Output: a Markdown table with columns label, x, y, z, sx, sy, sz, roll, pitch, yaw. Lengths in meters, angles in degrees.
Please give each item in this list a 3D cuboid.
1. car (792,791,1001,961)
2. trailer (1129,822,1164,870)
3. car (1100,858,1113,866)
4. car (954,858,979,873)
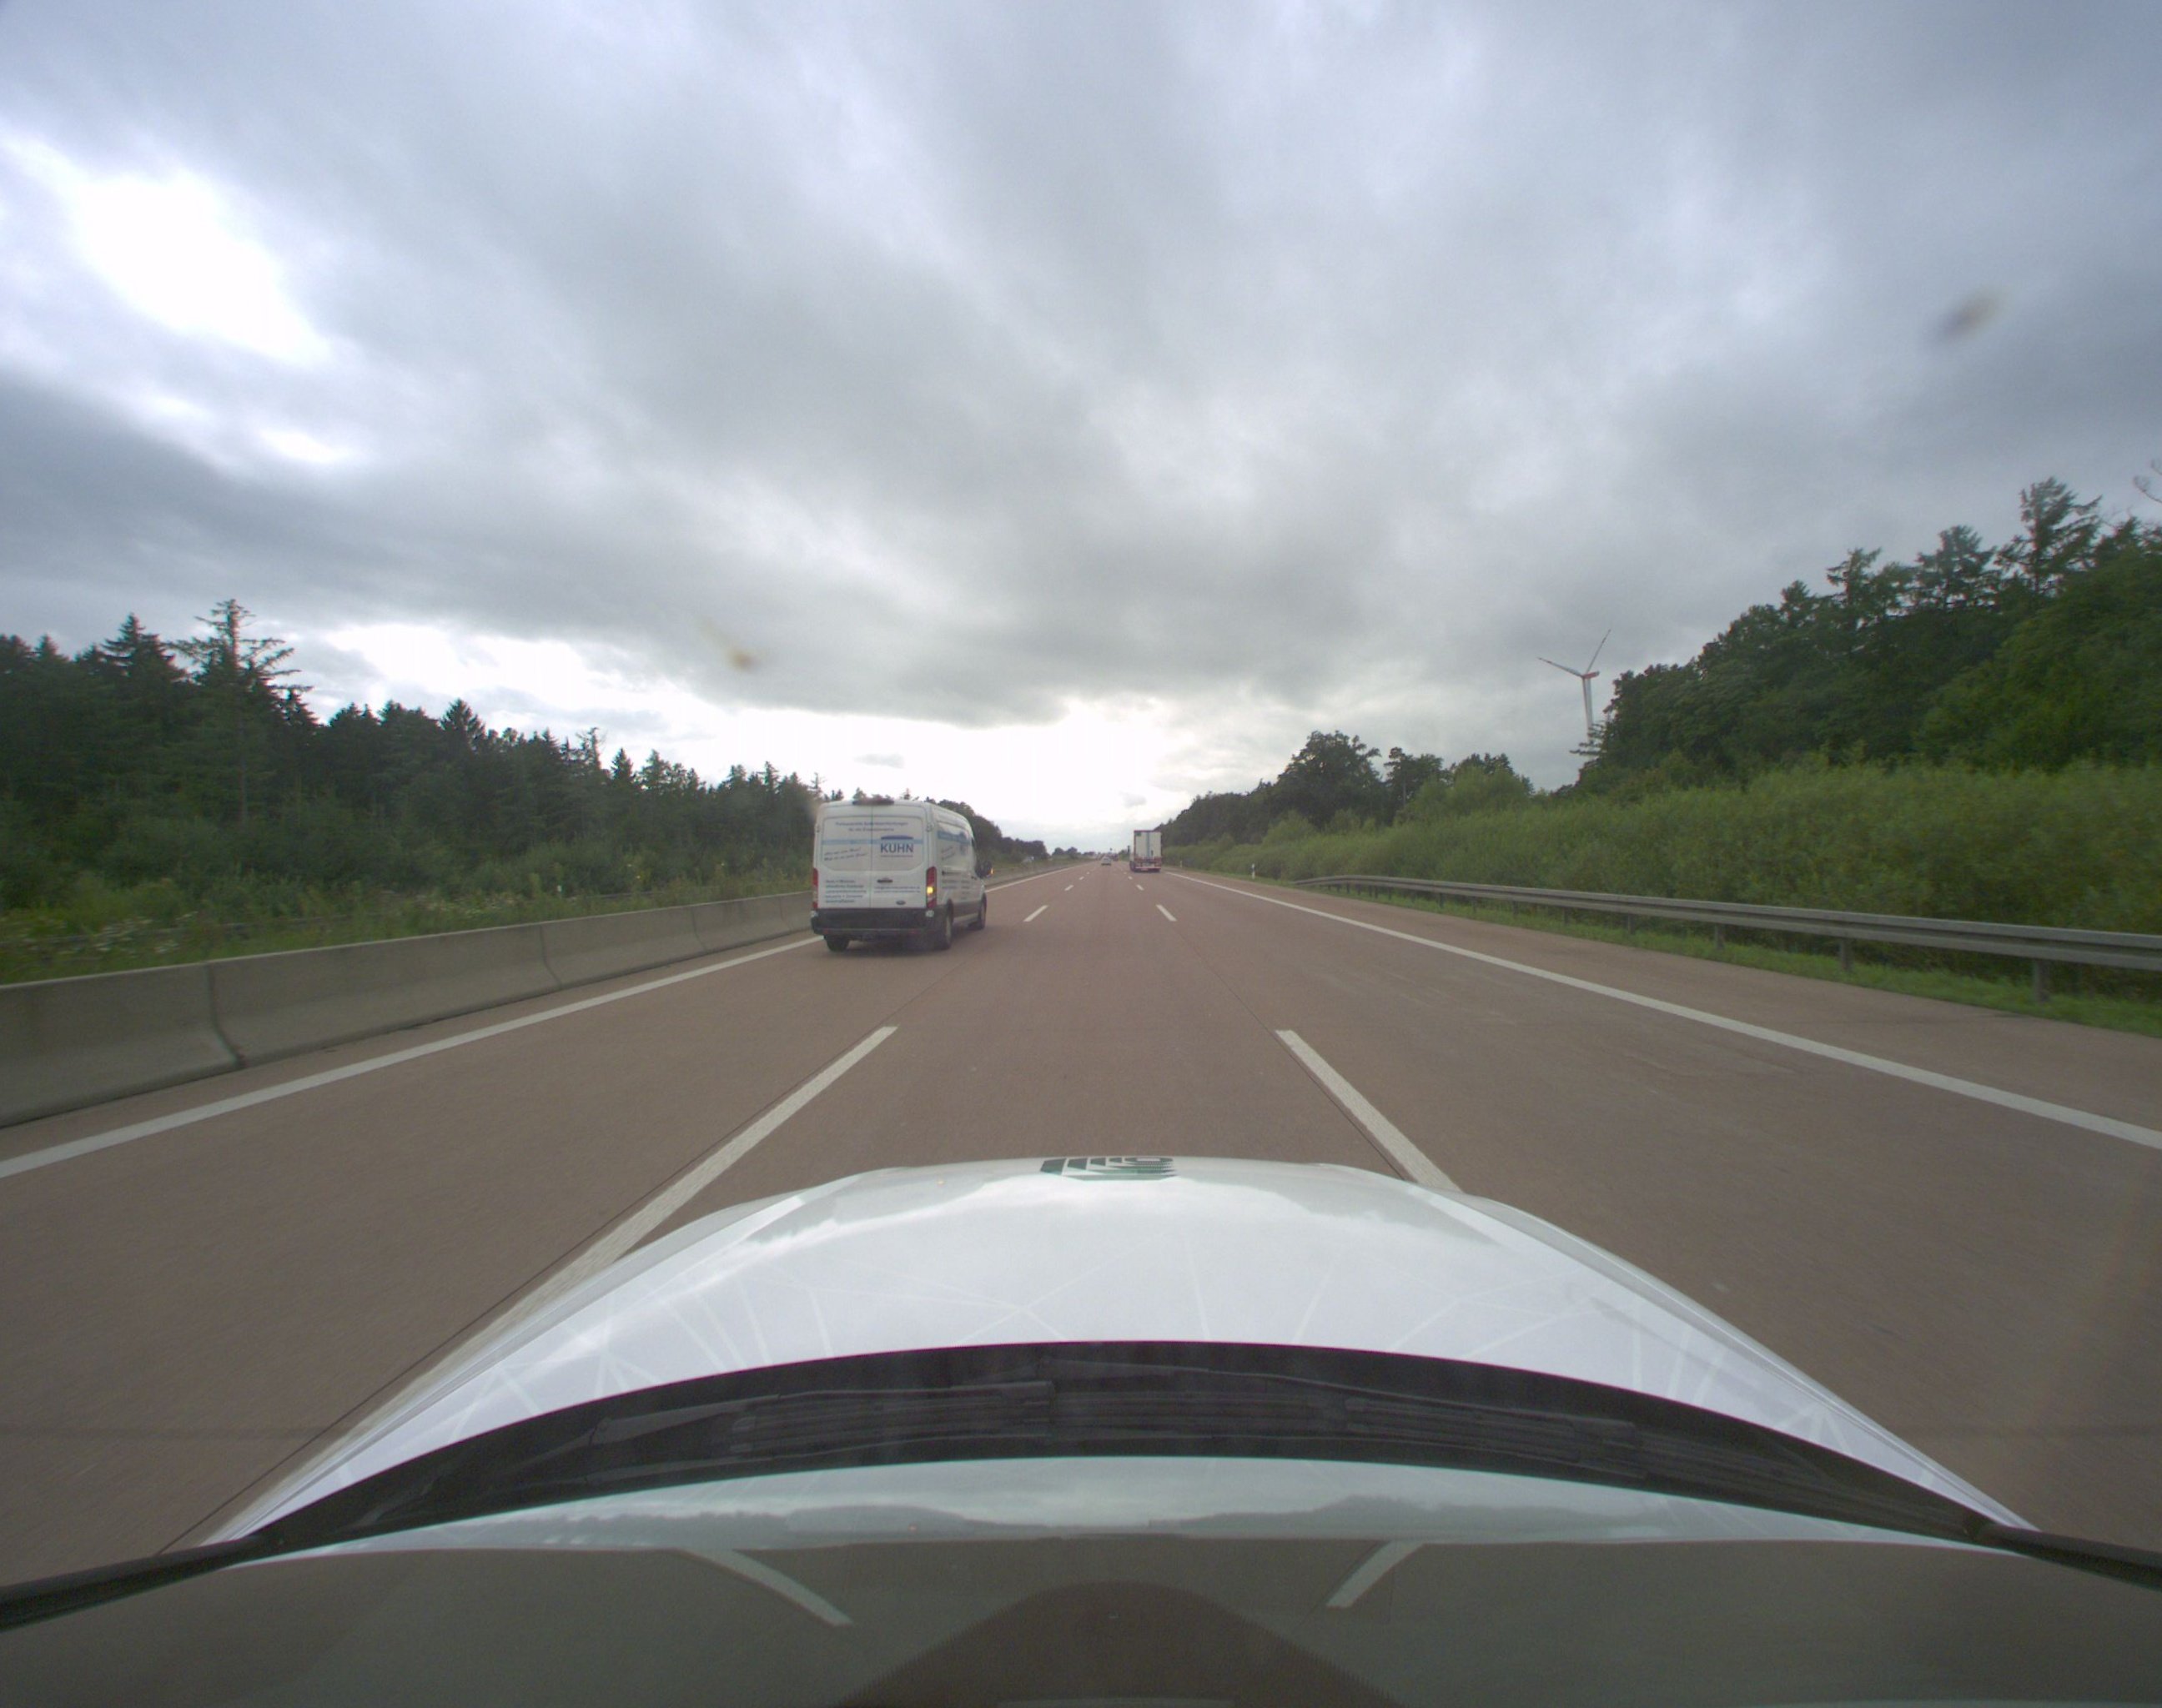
| label | x | y | z | sx | sy | sz | roll | pitch | yaw |
| --- | --- | --- | --- | --- | --- | --- | --- | --- | --- |
| car | -3.113 | 0.320 | 15.739 | 2.129 | 2.507 | 7.135 | -1 | 0 | 2 |
| trailer | 6.402 | -0.705 | 81.189 | 2.910 | 4.294 | 13.620 | 0 | 0 | 2 |
| car | 4.659 | 1.462 | 149.336 | 2.154 | 1.451 | 4.723 | 0 | 0 | 4 |
| car | -13.177 | 1.306 | 93.781 | 1.986 | 1.681 | 4.889 | -2 | 0 | 2 |
